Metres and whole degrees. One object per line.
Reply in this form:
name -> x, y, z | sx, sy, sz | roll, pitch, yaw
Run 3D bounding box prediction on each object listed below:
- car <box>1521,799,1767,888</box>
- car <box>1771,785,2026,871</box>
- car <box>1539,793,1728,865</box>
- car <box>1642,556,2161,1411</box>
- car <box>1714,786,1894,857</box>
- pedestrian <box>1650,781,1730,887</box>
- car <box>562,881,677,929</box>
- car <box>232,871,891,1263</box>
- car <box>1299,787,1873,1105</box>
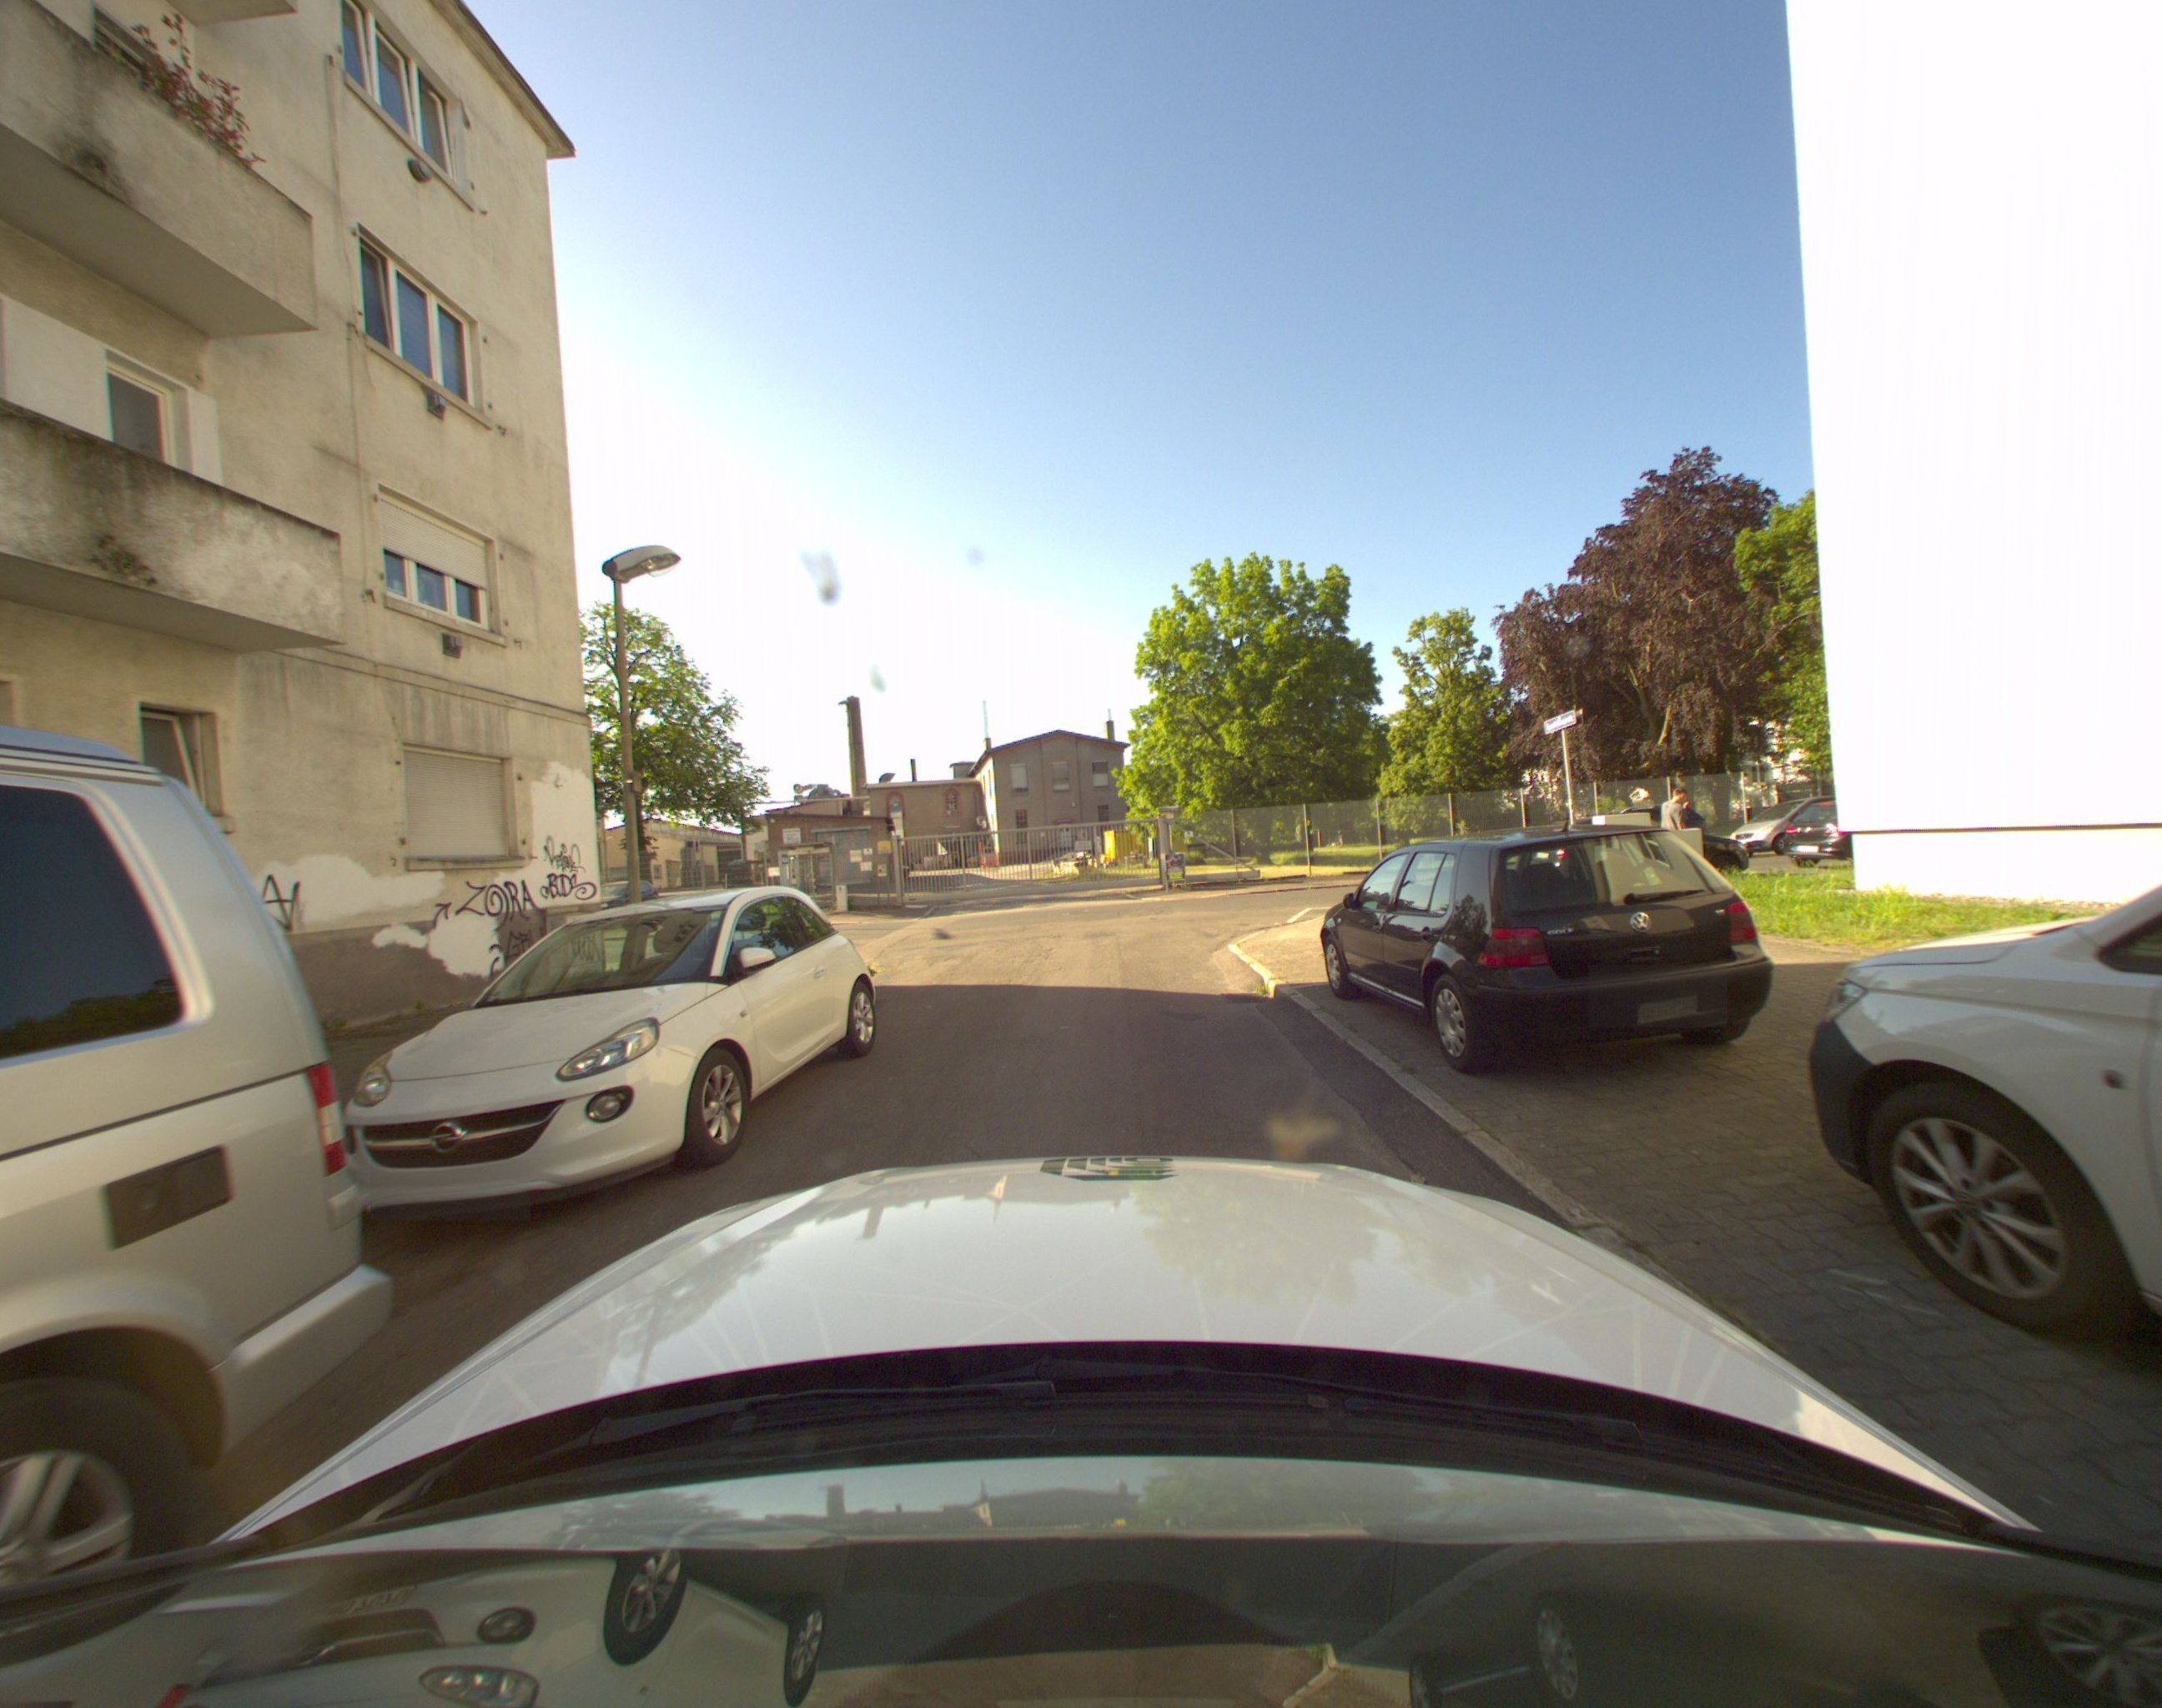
car -> 11.841, -0.210, 17.309 | 4.059, 1.548, 1.623 | -4, 0, 0
car -> 17.373, -0.541, 17.437 | 3.772, 1.484, 1.610 | -4, 0, 1
car -> 15.765, -0.675, 23.396 | 4.137, 1.664, 1.718 | -4, -3, 1
car -> 3.125, 0.215, 0.993 | 1.790, 1.845, 4.544 | -7, 0, 4
car -> 20.654, -0.908, 23.368 | 3.591, 1.643, 1.569 | -4, -4, 1
pedestrian -> 10.729, -0.351, 14.367 | 0.835, 1.771, 0.647 | -4, 0, 1
car -> -17.606, 1.895, 31.291 | 1.987, 1.420, 4.001 | -4, 0, 1
car -> -2.696, 0.968, 5.384 | 1.680, 1.459, 3.725 | -6, 0, 3
car -> 3.103, 0.466, 6.163 | 1.791, 1.415, 4.050 | -7, 0, 2
